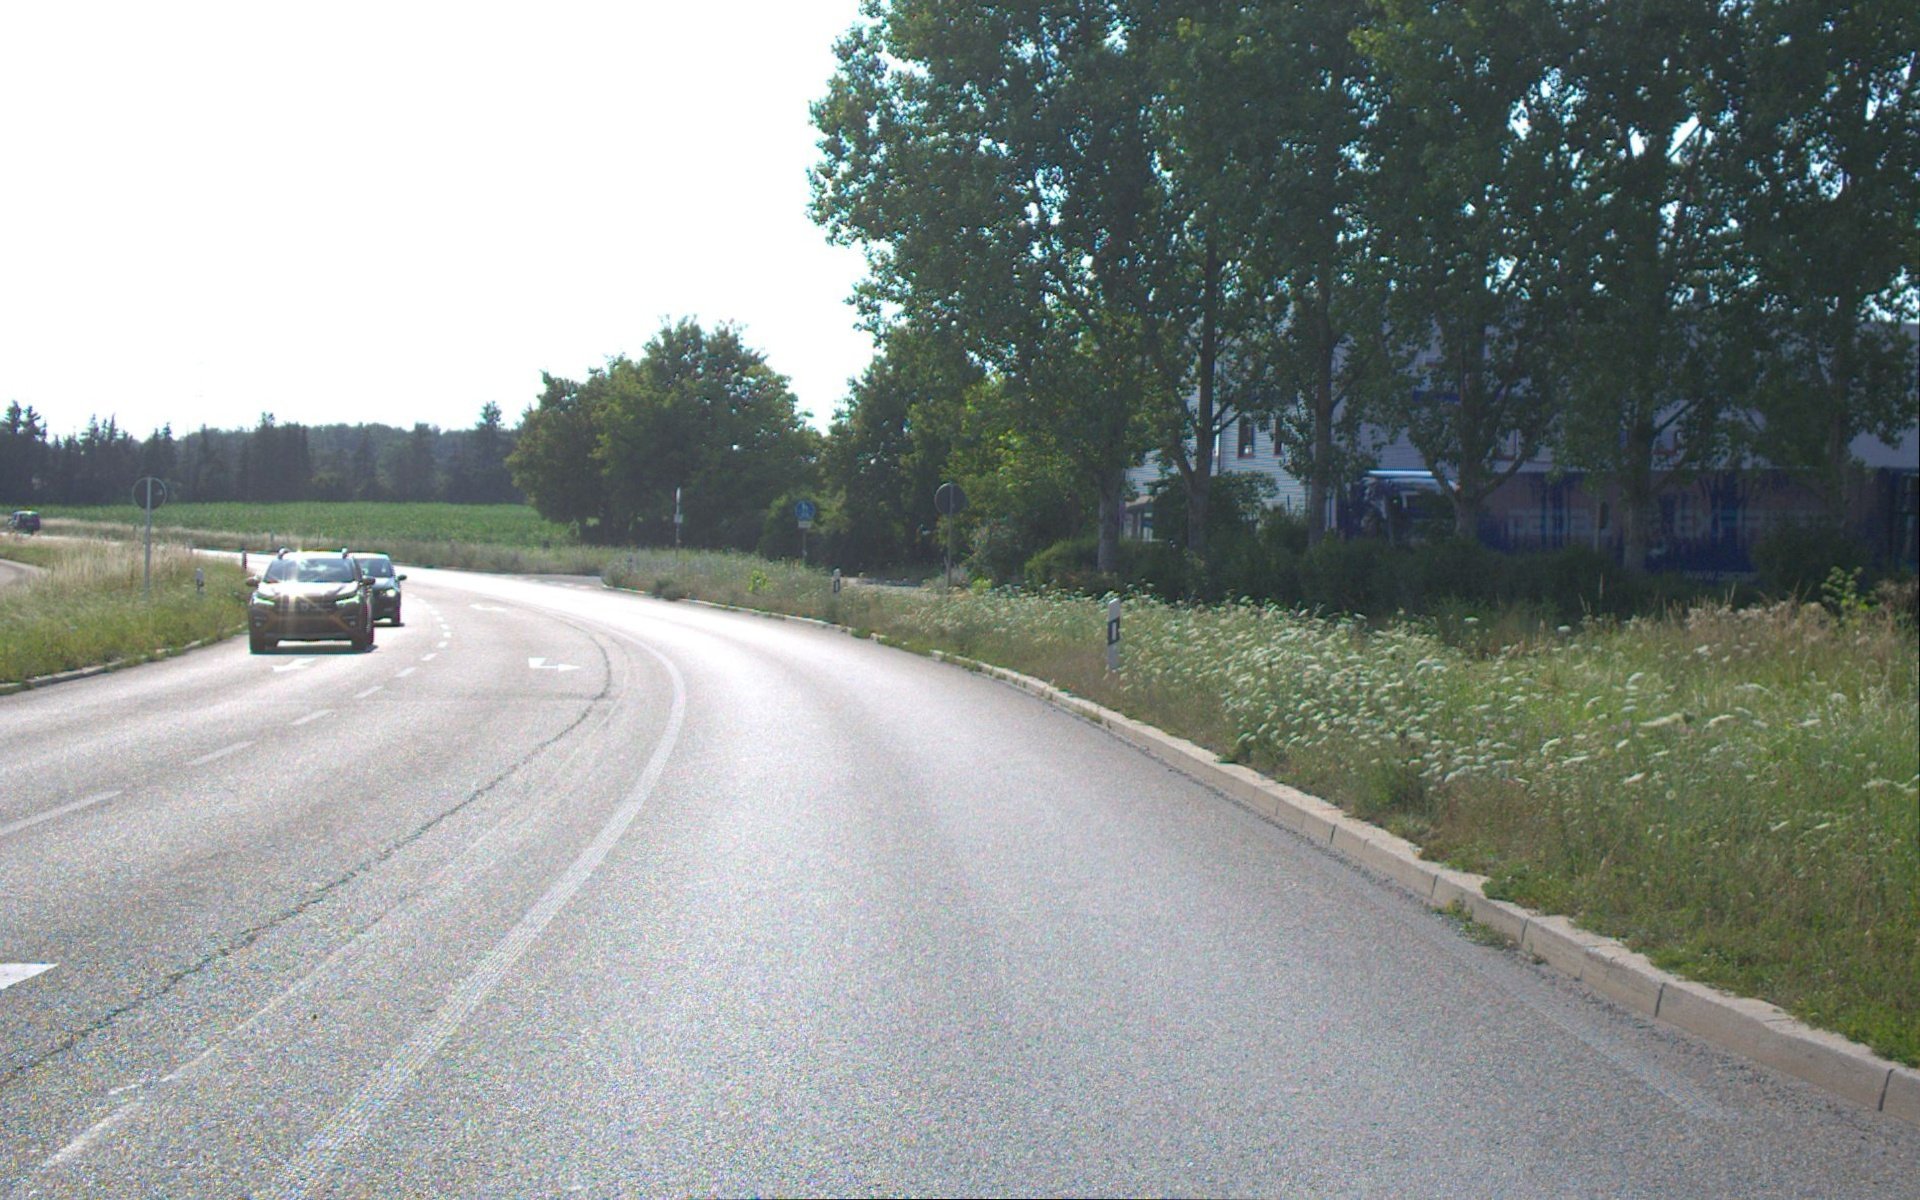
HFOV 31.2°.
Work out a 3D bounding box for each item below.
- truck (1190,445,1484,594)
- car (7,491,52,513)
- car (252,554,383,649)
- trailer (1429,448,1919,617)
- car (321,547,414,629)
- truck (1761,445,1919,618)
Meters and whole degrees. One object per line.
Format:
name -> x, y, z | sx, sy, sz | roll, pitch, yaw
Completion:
truck -> 9.372, -2.087, 86.943 | 2.511, 3.365, 9.688 | 5, 0, -25
car -> -58.328, -6.137, 215.424 | 1.967, 1.147, 3.868 | 5, 0, -26
car -> -9.994, 0.001, 53.674 | 1.684, 1.344, 4.001 | 1, 1, -6
trailer -> 15.075, -1.412, 73.617 | 2.683, 3.131, 13.273 | 5, -1, -27
car -> -11.854, -0.263, 68.764 | 1.684, 1.344, 3.634 | 5, 2, -10
truck -> 18.589, -1.289, 66.769 | 2.620, 3.151, 5.710 | 5, -1, -27
